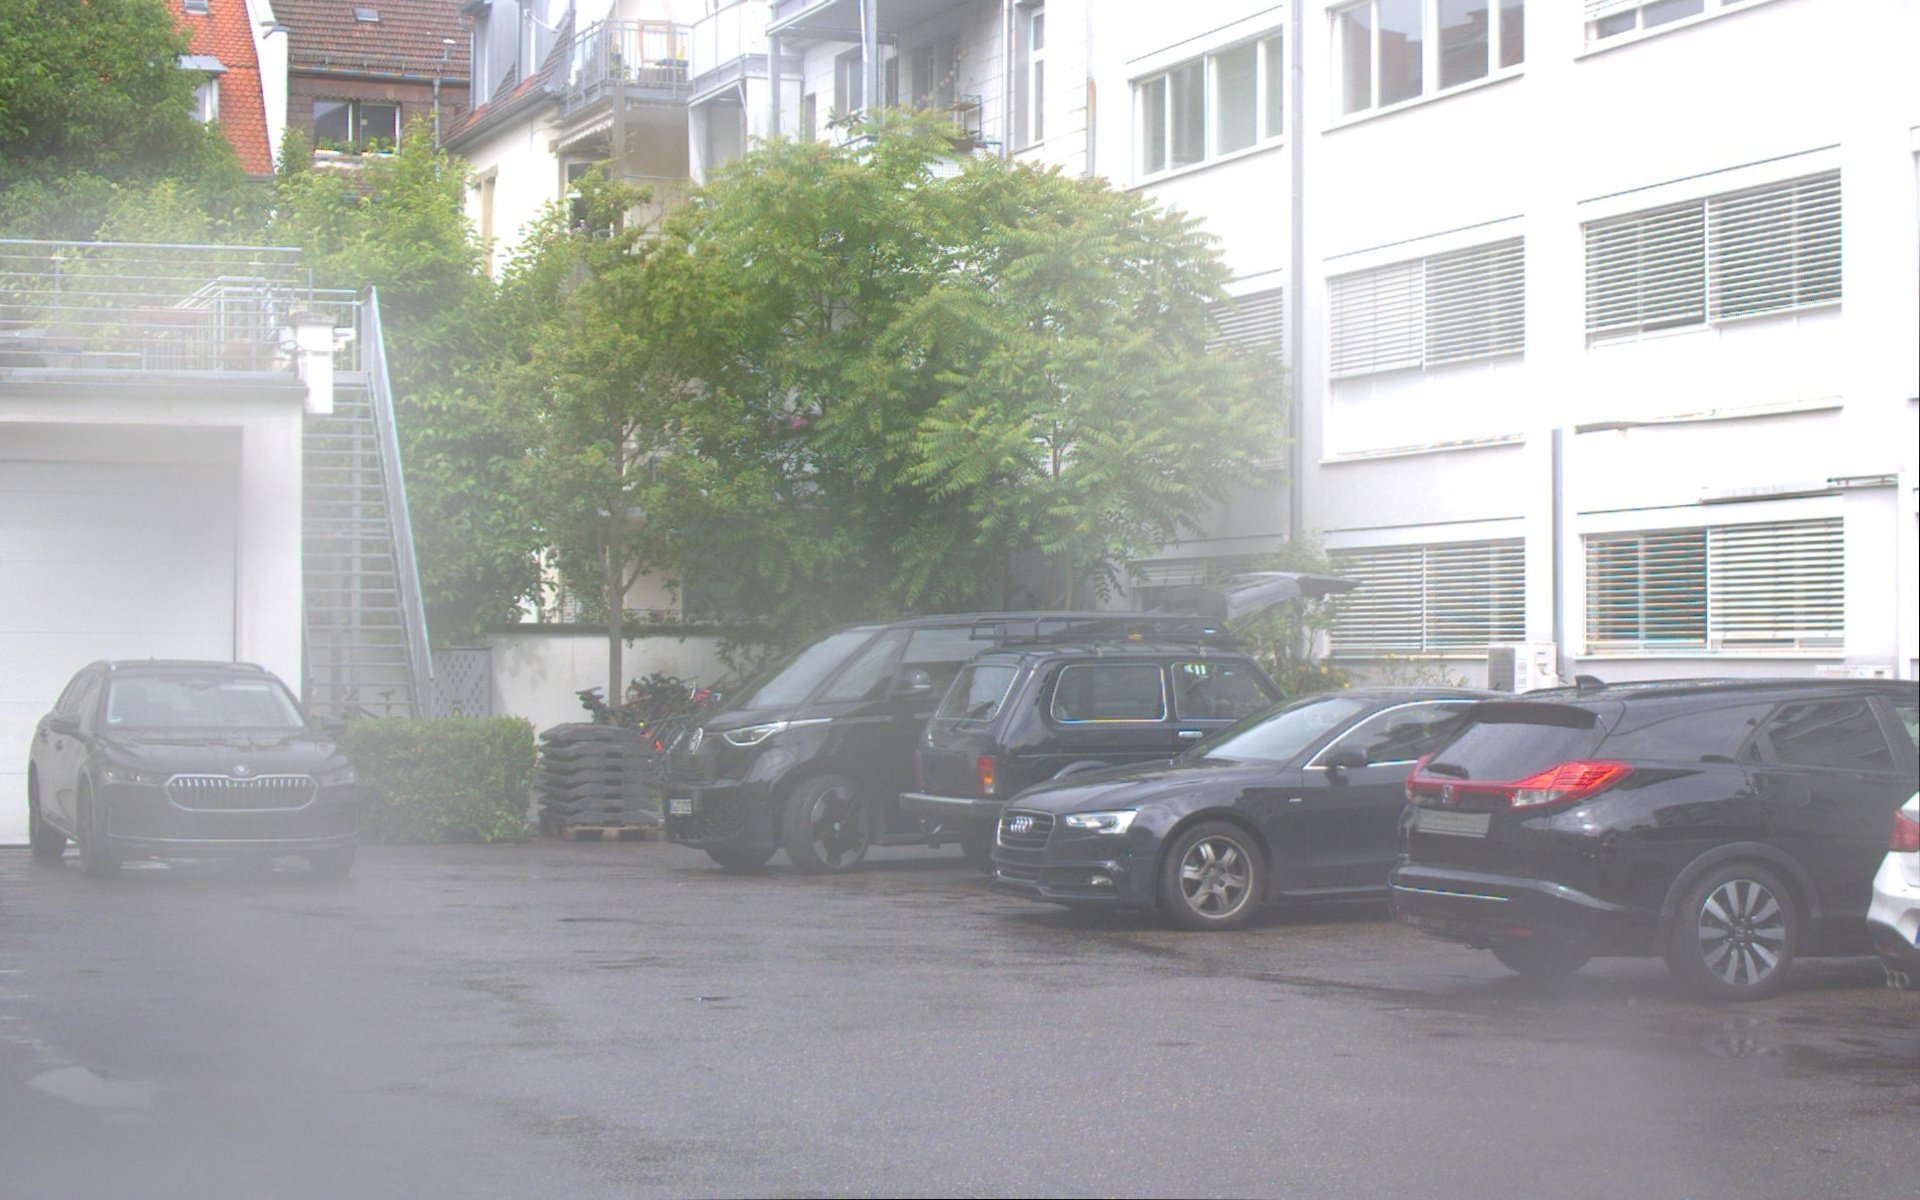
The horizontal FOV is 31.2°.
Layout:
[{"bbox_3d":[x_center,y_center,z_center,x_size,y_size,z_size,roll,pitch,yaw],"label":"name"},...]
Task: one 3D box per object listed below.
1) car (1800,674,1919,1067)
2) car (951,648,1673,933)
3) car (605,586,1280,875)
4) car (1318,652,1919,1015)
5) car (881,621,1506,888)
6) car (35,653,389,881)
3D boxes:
[{"bbox_3d":[5.475,0.993,13.364,3.986,1.453,1.773,0,-1,-22],"label":"car"},{"bbox_3d":[2.096,1.082,20.598,3.908,1.508,1.752,-1,-1,-22],"label":"car"},{"bbox_3d":[-0.129,0.920,26.257,4.634,1.996,2.225,-1,0,-27],"label":"car"},{"bbox_3d":[3.883,1.026,16.413,3.908,1.508,1.820,-1,-1,-24],"label":"car"},{"bbox_3d":[1.597,1.030,23.890,3.908,1.682,1.817,-1,-1,-18],"label":"car"},{"bbox_3d":[-5.360,1.112,24.254,1.978,1.439,4.001,1,-1,-19],"label":"car"}]
